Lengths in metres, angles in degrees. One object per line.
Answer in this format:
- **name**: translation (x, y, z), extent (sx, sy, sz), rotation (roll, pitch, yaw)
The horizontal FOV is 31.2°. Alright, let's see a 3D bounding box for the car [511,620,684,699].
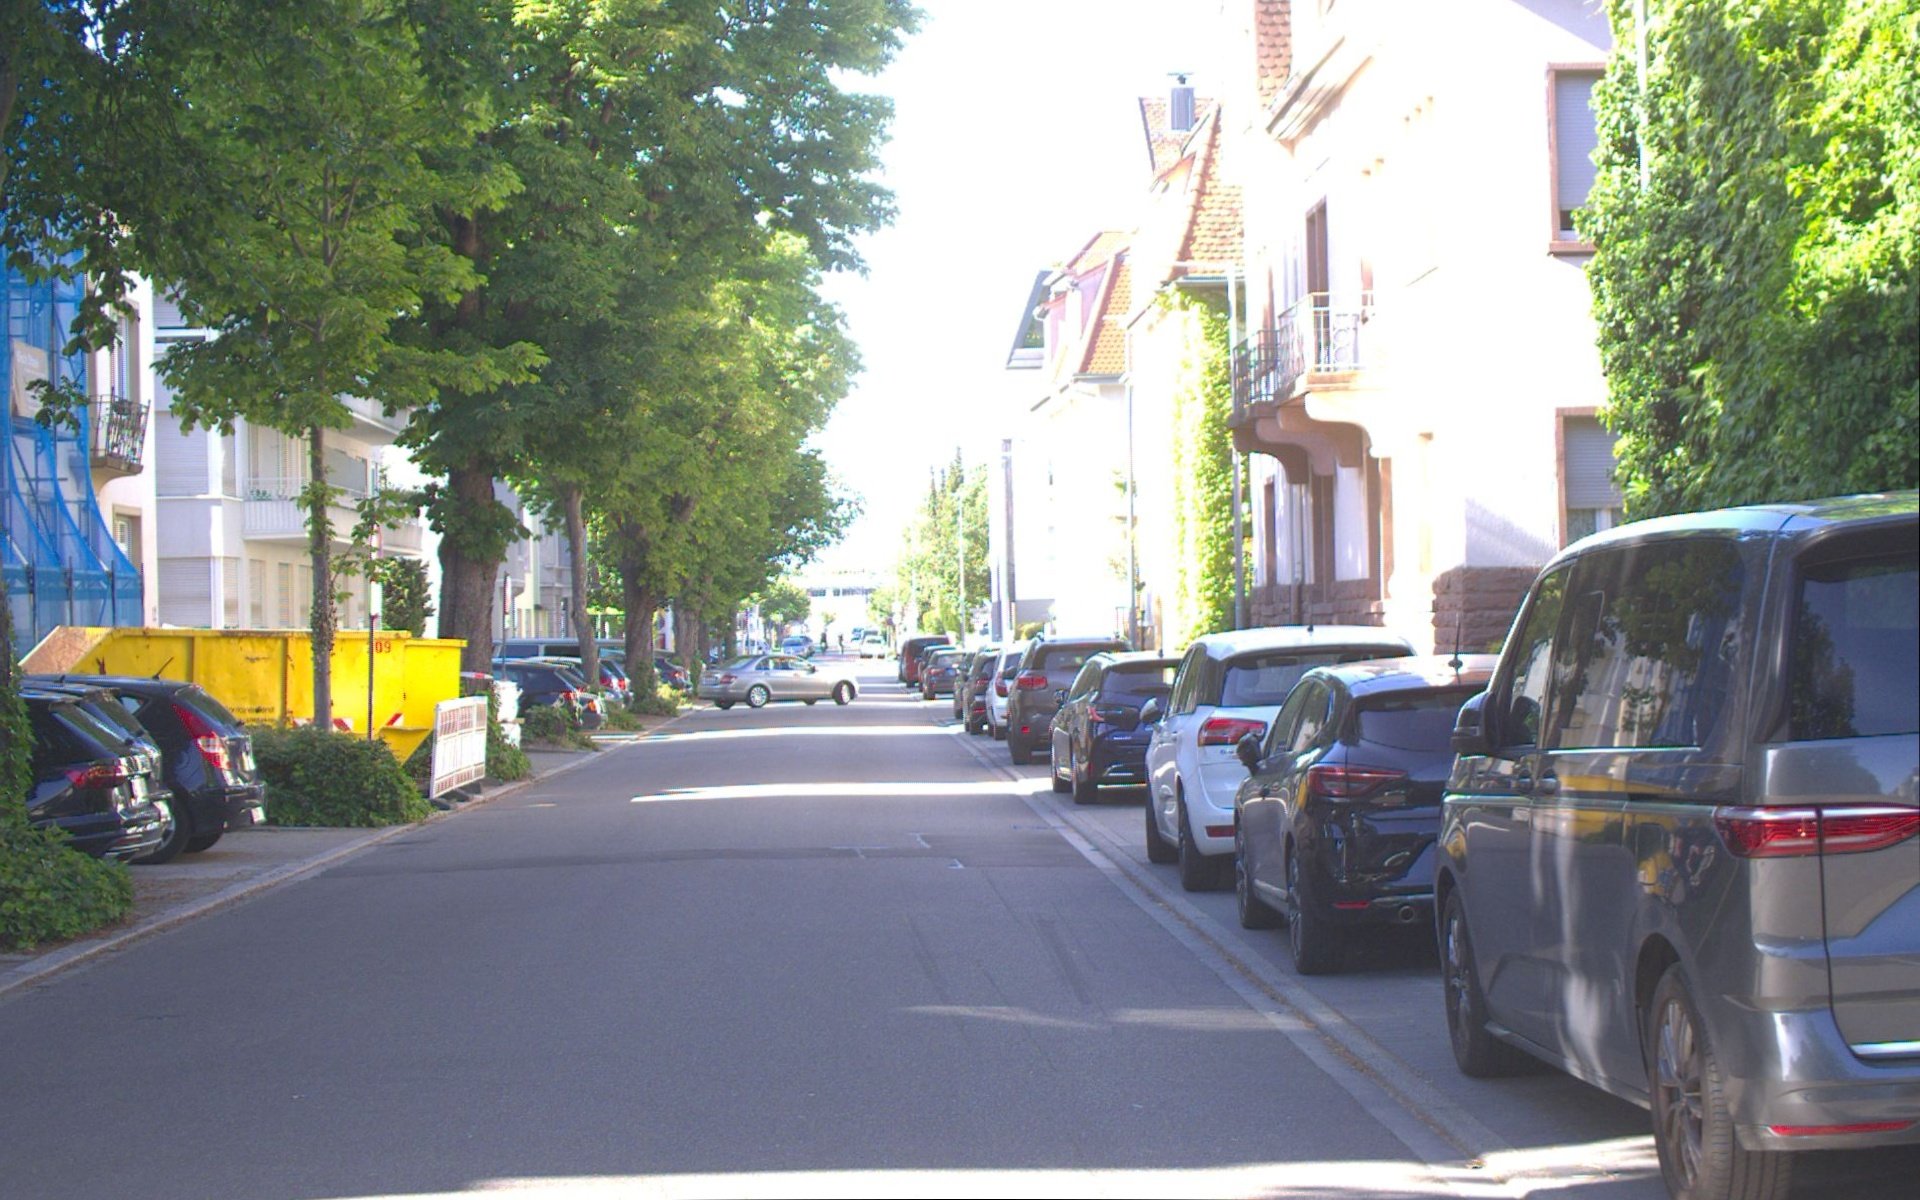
- **car**: translation (-8.918, 1.453, 84.717), extent (4.006, 1.835, 2.000), rotation (1, 0, 1)

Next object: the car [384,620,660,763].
- **car**: translation (-6.587, 1.354, 51.452), extent (3.986, 2.007, 2.000), rotation (-1, -1, -10)

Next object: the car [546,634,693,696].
- **car**: translation (-9.197, 1.747, 92.952), extent (3.746, 1.571, 1.826), rotation (1, 0, 1)

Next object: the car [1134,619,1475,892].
- **car**: translation (2.179, 0.952, 22.699), extent (1.789, 1.612, 3.866), rotation (-1, 0, -1)

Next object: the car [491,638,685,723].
- **car**: translation (-8.144, 1.752, 75.555), extent (4.006, 1.729, 1.894), rotation (1, 0, 1)

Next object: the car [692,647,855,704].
- **car**: translation (-4.950, 1.989, 91.418), extent (3.987, 1.404, 1.701), rotation (-1, -1, -33)

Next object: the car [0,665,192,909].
- **car**: translation (-7.196, 1.207, 22.310), extent (3.987, 1.464, 1.863), rotation (-1, 0, 0)

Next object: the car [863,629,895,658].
- **car**: translation (-4.652, 2.493, 198.930), extent (1.771, 1.626, 3.866), rotation (-1, 0, -1)

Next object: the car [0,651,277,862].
- **car**: translation (-7.460, 1.231, 27.124), extent (3.986, 1.547, 1.838), rotation (-1, 0, -10)

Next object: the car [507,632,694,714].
- **car**: translation (-8.128, 1.645, 78.033), extent (4.006, 1.729, 1.894), rotation (1, 0, 1)

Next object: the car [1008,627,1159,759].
- **car**: translation (1.580, 1.181, 45.103), extent (1.771, 1.626, 3.866), rotation (-1, 0, -1)

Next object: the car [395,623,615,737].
- **car**: translation (-8.548, 1.490, 64.434), extent (3.986, 2.007, 2.000), rotation (-1, -1, -10)

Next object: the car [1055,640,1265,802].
- **car**: translation (1.905, 1.146, 33.816), extent (1.771, 1.450, 3.866), rotation (-1, 0, -1)

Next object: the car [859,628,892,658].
- **car**: translation (-4.690, 2.388, 191.110), extent (1.771, 1.626, 3.866), rotation (-1, 0, -1)

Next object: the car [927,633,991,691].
- **car**: translation (-0.038, 1.783, 99.585), extent (1.771, 1.626, 3.866), rotation (-1, 0, -1)

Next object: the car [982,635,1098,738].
- **car**: translation (1.300, 1.423, 57.502), extent (1.771, 1.626, 3.866), rotation (-1, 0, -1)

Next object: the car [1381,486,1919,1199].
- **car**: translation (2.655, 0.652, 10.454), extent (1.904, 1.864, 4.673), rotation (-4, 0, -2)

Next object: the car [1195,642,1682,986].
- **car**: translation (2.254, 0.970, 17.158), extent (1.690, 1.394, 3.805), rotation (-4, 0, -2)

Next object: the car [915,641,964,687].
- **car**: translation (-0.786, 2.382, 128.196), extent (1.771, 1.626, 3.866), rotation (-1, 0, -1)
